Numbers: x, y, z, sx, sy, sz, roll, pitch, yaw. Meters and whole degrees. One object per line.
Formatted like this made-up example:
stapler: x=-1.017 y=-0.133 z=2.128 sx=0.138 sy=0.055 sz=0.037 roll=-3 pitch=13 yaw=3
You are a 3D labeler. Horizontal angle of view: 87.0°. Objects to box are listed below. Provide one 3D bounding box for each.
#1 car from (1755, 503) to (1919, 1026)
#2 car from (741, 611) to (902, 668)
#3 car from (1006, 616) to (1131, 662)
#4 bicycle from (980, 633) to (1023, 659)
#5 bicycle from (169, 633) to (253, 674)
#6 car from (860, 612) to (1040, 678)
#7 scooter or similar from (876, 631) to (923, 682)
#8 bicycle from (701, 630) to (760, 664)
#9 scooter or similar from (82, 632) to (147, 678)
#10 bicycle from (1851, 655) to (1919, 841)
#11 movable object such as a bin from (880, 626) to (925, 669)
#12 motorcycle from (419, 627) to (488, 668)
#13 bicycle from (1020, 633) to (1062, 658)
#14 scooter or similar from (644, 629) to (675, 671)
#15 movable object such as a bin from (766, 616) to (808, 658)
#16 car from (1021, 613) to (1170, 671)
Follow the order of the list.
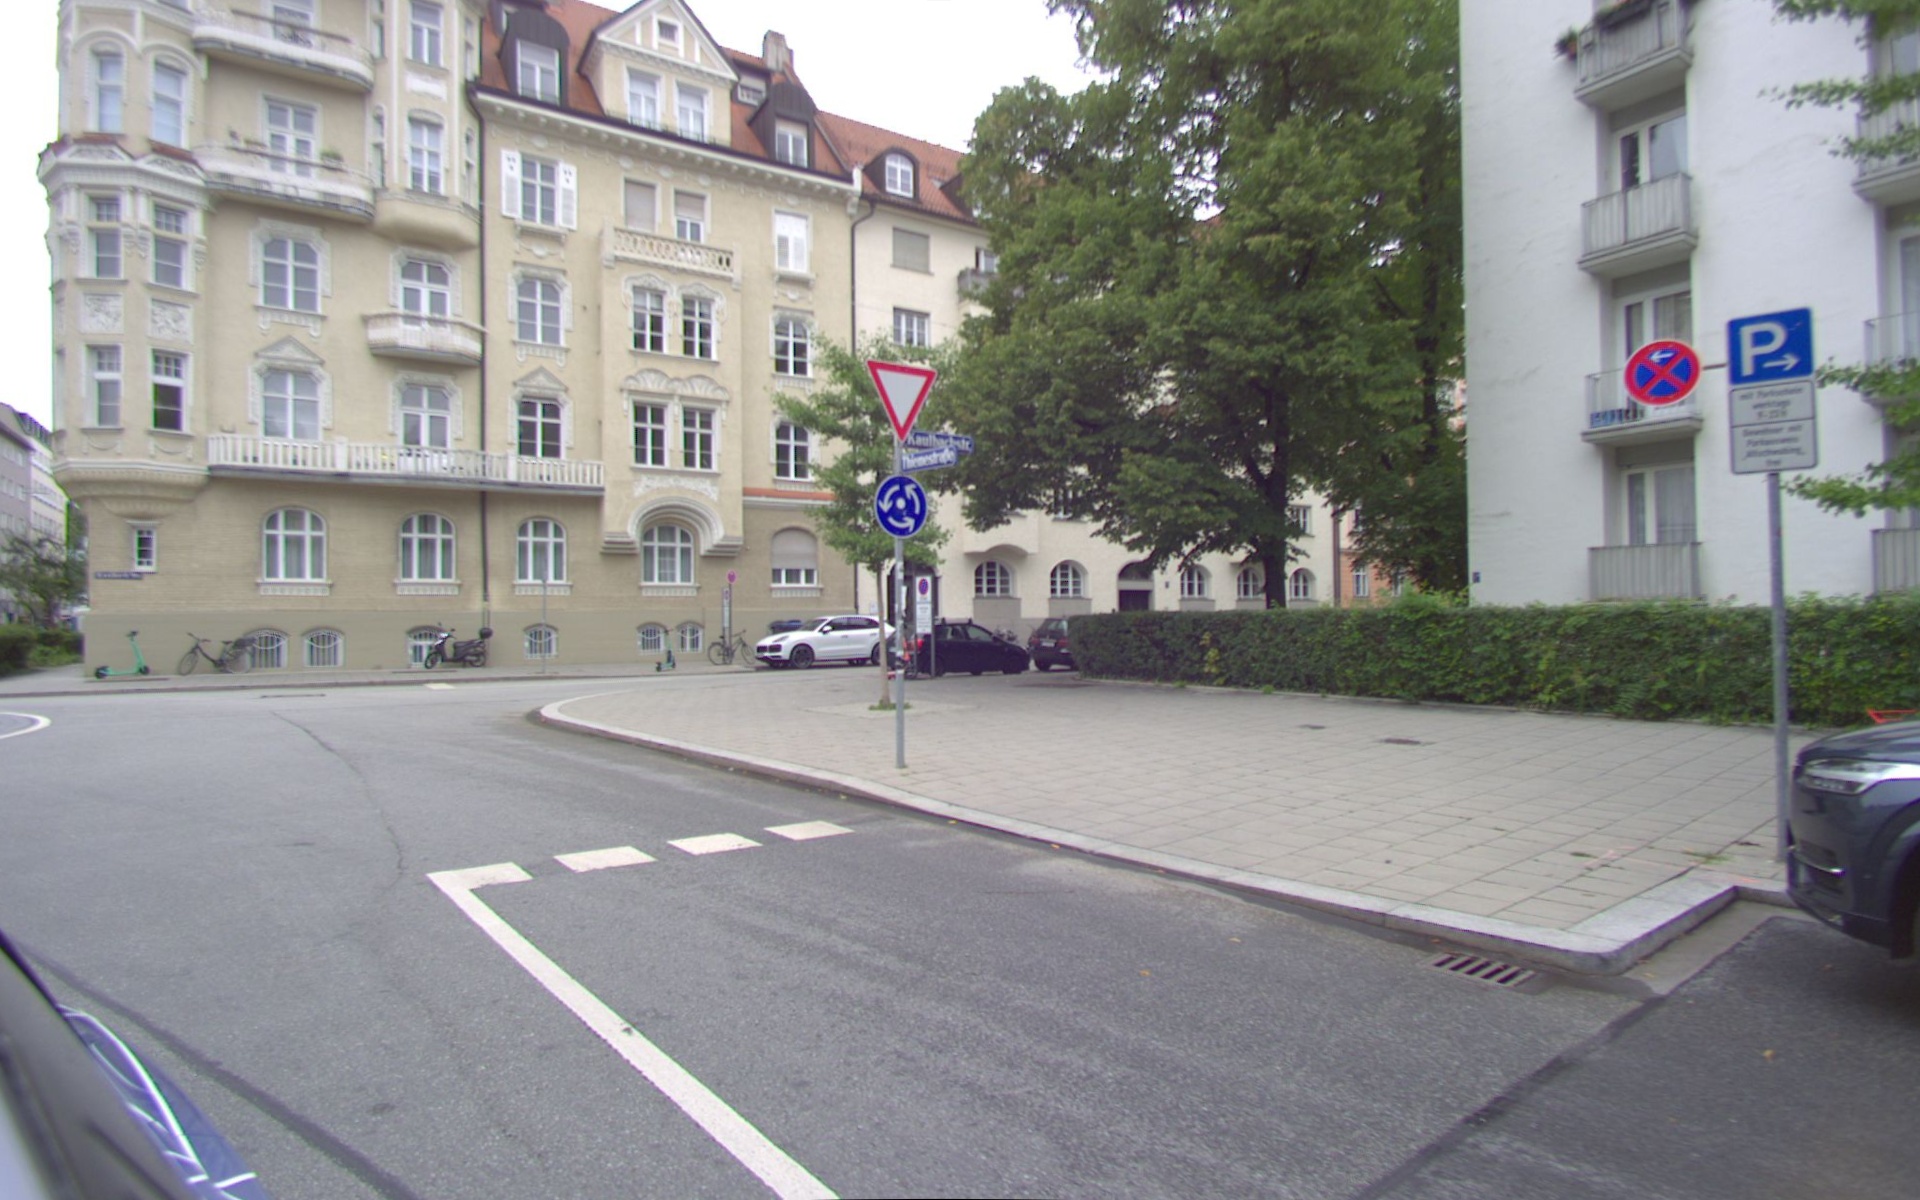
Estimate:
car: x=5.324 y=0.548 z=2.510 sx=1.967 sy=1.805 sz=4.923 roll=2 pitch=-2 yaw=-37
car: x=-4.416 y=1.211 z=32.566 sx=4.759 sy=1.713 sz=1.987 roll=0 pitch=-1 yaw=-34
car: x=4.151 y=1.436 z=38.443 sx=4.635 sy=1.628 sz=1.986 roll=0 pitch=-1 yaw=-37
bicycle: x=1.725 y=1.904 z=41.943 sx=1.800 sy=1.057 sz=0.566 roll=0 pitch=-2 yaw=-34
bicycle: x=-20.263 y=1.430 z=27.426 sx=1.800 sy=1.057 sz=0.566 roll=0 pitch=-2 yaw=-34
car: x=-0.196 y=1.109 z=25.649 sx=4.351 sy=1.517 sz=1.828 roll=1 pitch=-3 yaw=-38
scooter or similar: x=-1.336 y=1.234 z=22.439 sx=0.998 sy=1.097 sz=0.387 roll=-1 pitch=-1 yaw=30
bicycle: x=-7.477 y=1.511 z=33.023 sx=1.800 sy=1.057 sz=0.566 roll=0 pitch=-2 yaw=-34
scooter or similar: x=-21.811 y=1.401 z=26.111 sx=0.465 sy=1.124 sz=1.205 roll=-1 pitch=-1 yaw=24
bicycle: x=6.163 y=0.849 z=5.572 sx=0.484 sy=1.057 sz=1.832 roll=1 pitch=-2 yaw=-43
movable object such as a bin: x=-1.985 y=1.627 z=34.861 sx=1.153 sy=1.436 sz=1.097 roll=0 pitch=-2 yaw=-32
motorcycle: x=-15.271 y=1.433 z=30.547 sx=1.800 sy=1.185 sz=0.601 roll=0 pitch=-2 yaw=-34
bicycle: x=3.461 y=1.929 z=43.087 sx=1.800 sy=1.057 sz=0.566 roll=0 pitch=-2 yaw=-34
scooter or similar: x=-8.945 y=1.470 z=30.135 sx=0.462 sy=1.202 sz=1.213 roll=0 pitch=-1 yaw=6
movable object such as a bin: x=-6.178 y=1.308 z=36.086 sx=1.153 sy=1.436 sz=1.097 roll=0 pitch=-2 yaw=-32
car: x=3.897 y=1.170 z=28.822 sx=4.166 sy=1.517 sz=1.803 roll=1 pitch=-3 yaw=-38
